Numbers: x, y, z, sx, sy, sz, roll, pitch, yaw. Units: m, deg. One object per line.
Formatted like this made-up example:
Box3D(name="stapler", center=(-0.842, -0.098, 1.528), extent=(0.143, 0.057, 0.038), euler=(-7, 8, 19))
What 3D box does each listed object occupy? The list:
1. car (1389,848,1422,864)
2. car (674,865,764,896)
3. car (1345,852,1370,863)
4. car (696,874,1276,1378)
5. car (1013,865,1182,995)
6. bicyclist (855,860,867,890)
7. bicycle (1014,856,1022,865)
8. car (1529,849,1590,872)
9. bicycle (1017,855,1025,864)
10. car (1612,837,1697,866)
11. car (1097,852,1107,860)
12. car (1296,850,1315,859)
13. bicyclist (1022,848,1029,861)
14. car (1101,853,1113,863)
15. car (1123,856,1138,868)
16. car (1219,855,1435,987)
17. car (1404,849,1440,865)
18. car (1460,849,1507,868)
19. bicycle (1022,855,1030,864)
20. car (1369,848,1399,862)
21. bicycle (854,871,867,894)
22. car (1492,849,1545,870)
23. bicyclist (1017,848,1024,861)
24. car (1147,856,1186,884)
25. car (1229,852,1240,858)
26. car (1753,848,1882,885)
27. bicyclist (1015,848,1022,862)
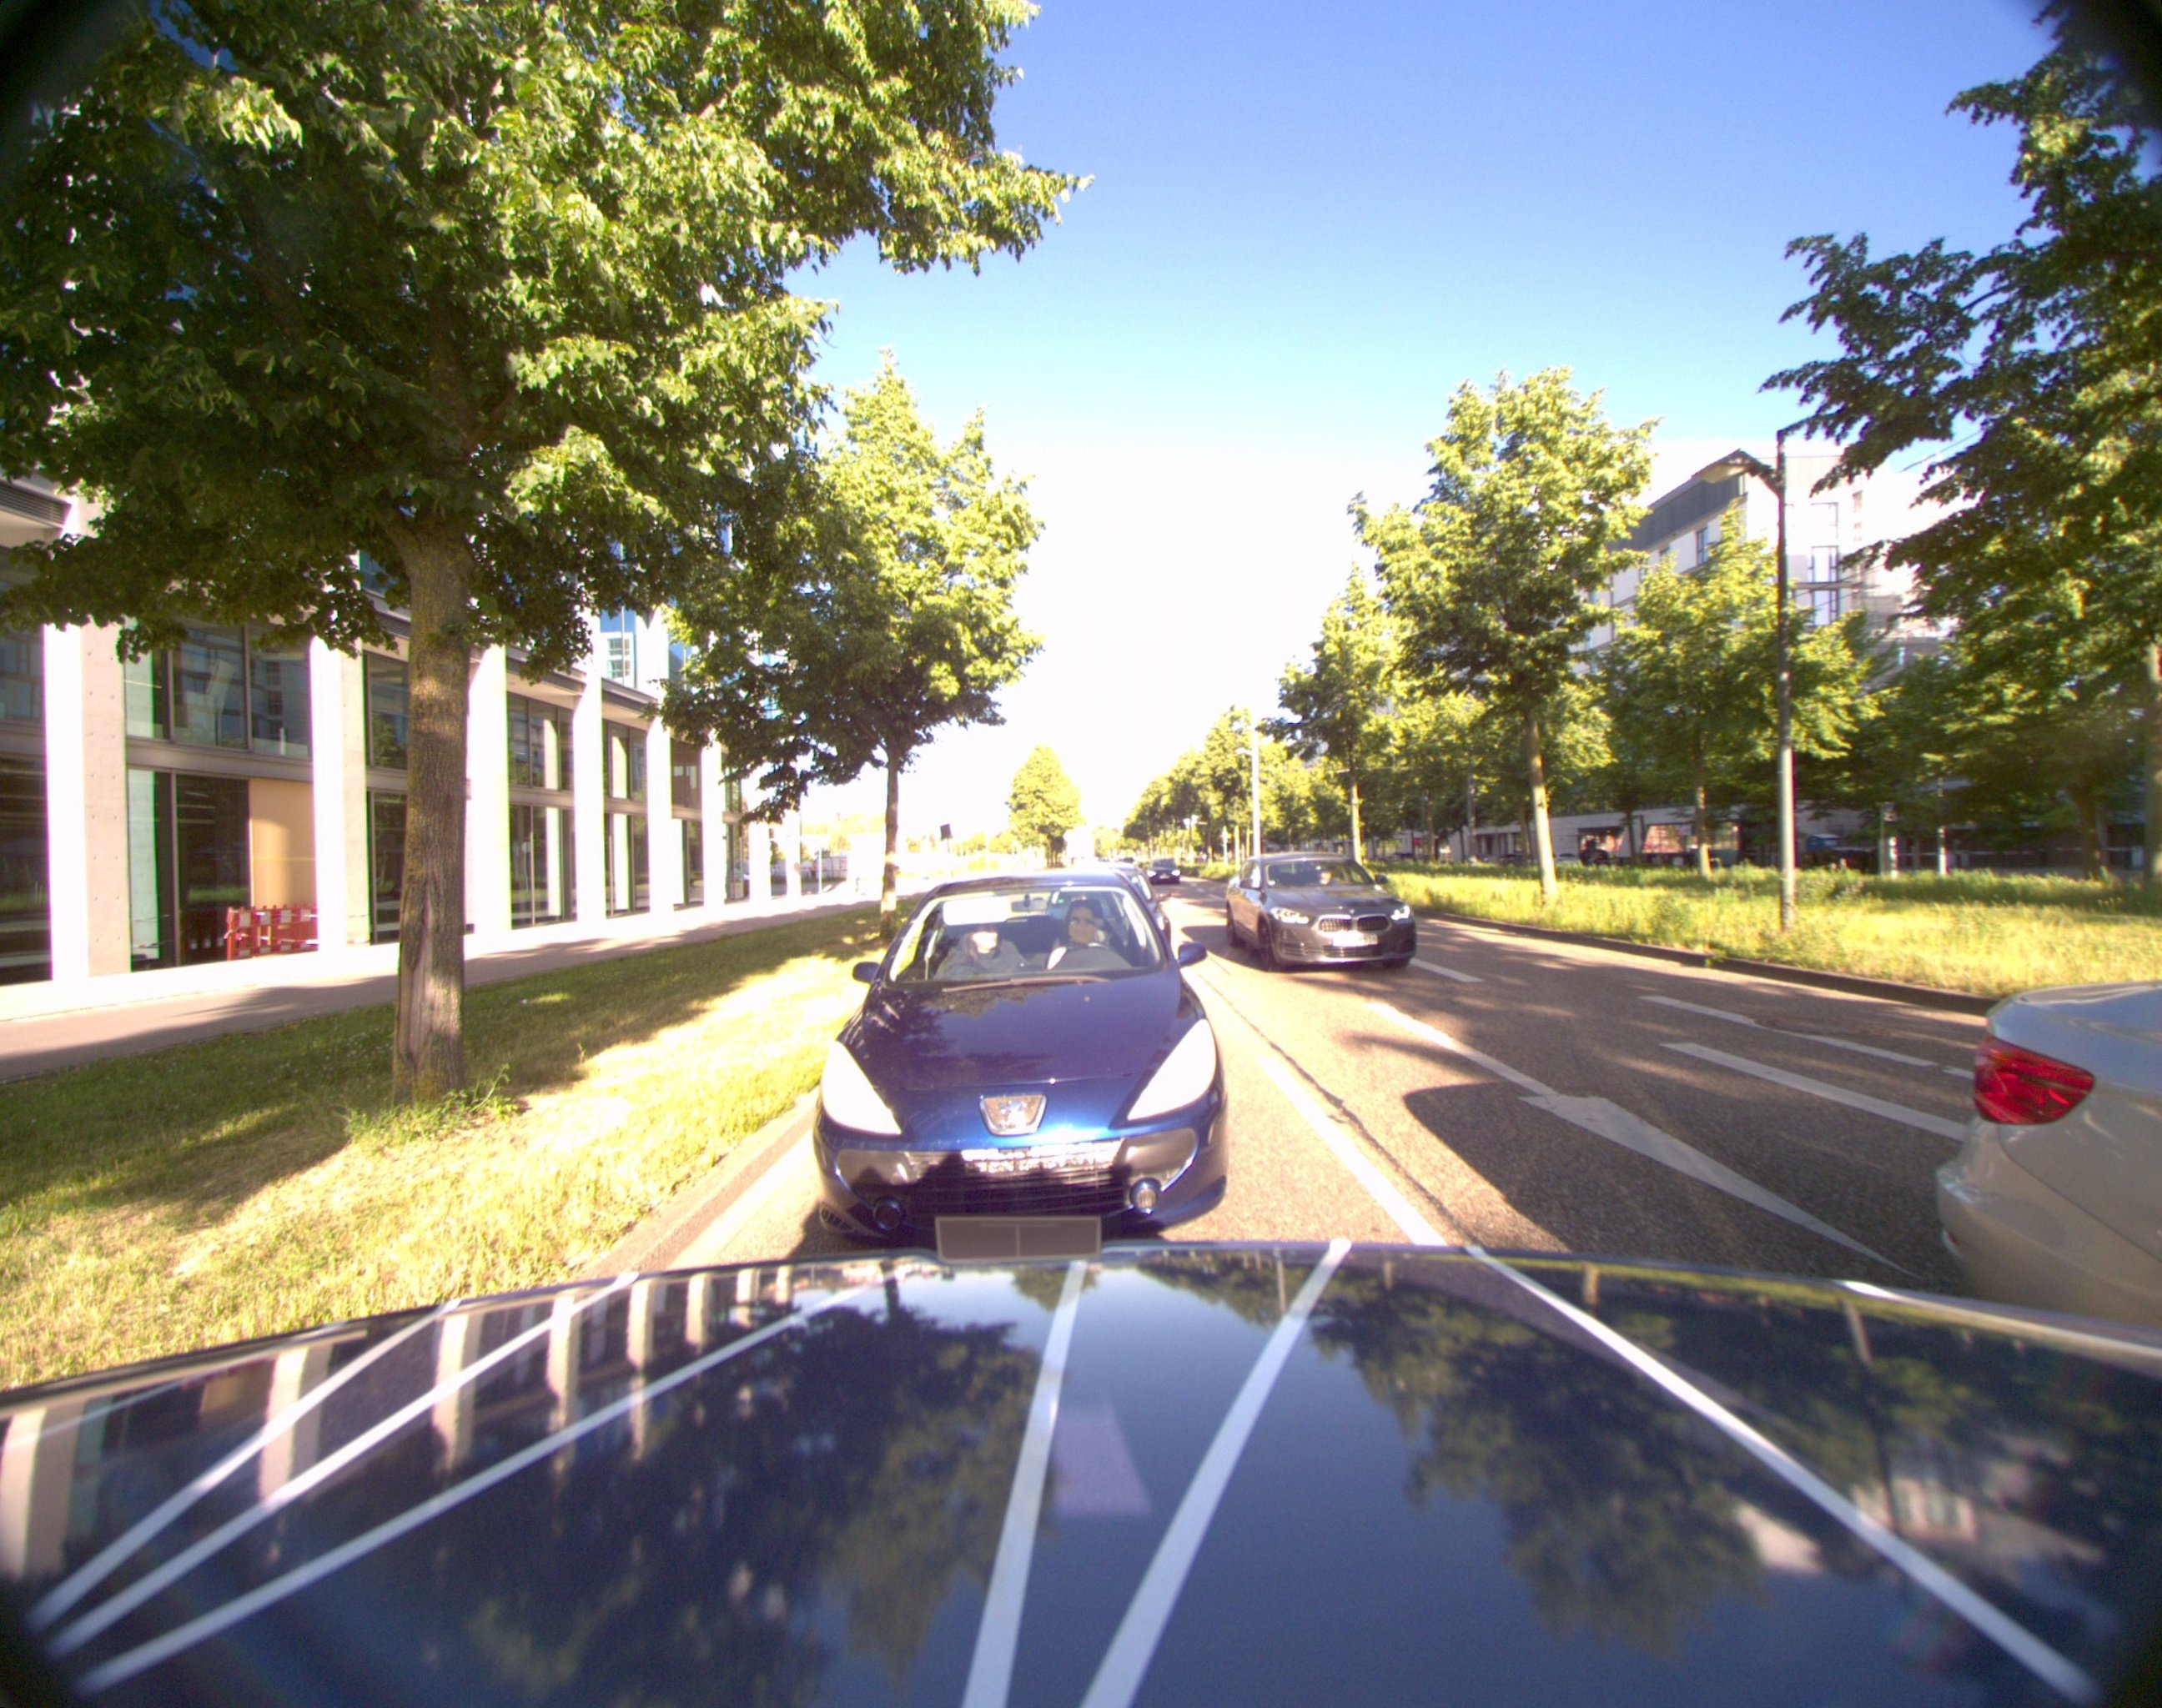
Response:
Box3D(name="car", center=(35.452, 0.201, 83.104), extent=(1.884, 1.588, 4.184), euler=(-1, 0, 1))
Box3D(name="car", center=(-20.034, 1.433, 42.152), extent=(3.996, 1.569, 2.000), euler=(-1, 0, 3))
Box3D(name="car", center=(35.506, 0.421, 97.736), extent=(1.998, 1.387, 4.001), euler=(-1, 0, 4))
Box3D(name="car", center=(-0.280, 0.951, 4.713), extent=(1.846, 1.473, 4.481), euler=(-2, 0, 1))
Box3D(name="car", center=(0.228, 0.950, 11.458), extent=(1.998, 1.437, 4.622), euler=(-1, 0, 1))
Box3D(name="bicyclist", center=(-11.360, 1.075, 39.230), extent=(0.592, 1.530, 0.699), euler=(1, 0, -15))
Box3D(name="bicycle", center=(-9.854, 0.944, 119.268), extent=(0.931, 1.355, 4.000), euler=(-1, 0, 1))
Box3D(name="car", center=(34.910, 0.477, 55.583), extent=(1.884, 1.588, 4.184), euler=(-1, 0, 1))
Box3D(name="bicycle", center=(-9.795, 0.902, 123.655), extent=(0.931, 1.355, 4.000), euler=(-1, 0, 1))
Box3D(name="car", center=(34.140, -0.154, 45.391), extent=(1.951, 1.588, 4.184), euler=(-1, 0, 1))
Box3D(name="car", center=(4.282, 0.435, 152.223), extent=(1.879, 1.561, 4.344), euler=(-1, 0, 1))
Box3D(name="car", center=(36.620, 0.019, 124.153), extent=(1.998, 1.387, 4.000), euler=(-1, 0, 1))
Box3D(name="bicyclist", center=(-8.696, 0.074, 119.480), extent=(0.931, 2.045, 1.121), euler=(-1, 1, 1))
Box3D(name="car", center=(4.406, 0.606, 127.686), extent=(1.878, 1.561, 4.344), euler=(-1, 0, 2))
Box3D(name="car", center=(6.707, 1.054, 103.540), extent=(1.878, 1.577, 4.344), euler=(-1, 0, 2))
Box3D(name="car", center=(3.231, 0.787, 10.870), extent=(1.861, 1.482, 4.000), euler=(-1, 0, 1))
Box3D(name="car", center=(35.040, 0.270, 78.196), extent=(1.884, 1.588, 4.184), euler=(-1, 0, 1))
Box3D(name="car", center=(35.164, 0.365, 66.514), extent=(1.884, 1.588, 4.184), euler=(-1, 0, 1))
Box3D(name="bicycle", center=(-8.675, 0.867, 119.576), extent=(0.931, 1.355, 4.000), euler=(-1, 0, 1))
Box3D(name="car", center=(35.510, 0.145, 89.024), extent=(1.884, 1.588, 4.184), euler=(-1, 0, 1))
Box3D(name="bicycle", center=(-11.368, 1.472, 39.236), extent=(0.592, 1.149, 1.925), euler=(1, 0, -15))
Box3D(name="car", center=(35.197, 0.410, 61.231), extent=(1.884, 1.588, 4.184), euler=(-1, 0, 1))
Box3D(name="bicyclist", center=(-9.796, 0.109, 123.383), extent=(0.931, 2.045, 1.121), euler=(-1, 1, 1))
Box3D(name="car", center=(4.759, 0.846, 42.778), extent=(1.878, 1.415, 4.344), euler=(-1, 0, 2))
Box3D(name="car", center=(36.128, 0.186, 179.231), extent=(1.998, 1.387, 4.001), euler=(-1, 0, 4))
Box3D(name="car", center=(34.093, 0.538, 35.352), extent=(1.951, 1.588, 4.184), euler=(-1, 0, 1))
Box3D(name="bicyclist", center=(-9.864, 0.150, 119.278), extent=(0.931, 2.045, 1.121), euler=(-1, 1, 1))
